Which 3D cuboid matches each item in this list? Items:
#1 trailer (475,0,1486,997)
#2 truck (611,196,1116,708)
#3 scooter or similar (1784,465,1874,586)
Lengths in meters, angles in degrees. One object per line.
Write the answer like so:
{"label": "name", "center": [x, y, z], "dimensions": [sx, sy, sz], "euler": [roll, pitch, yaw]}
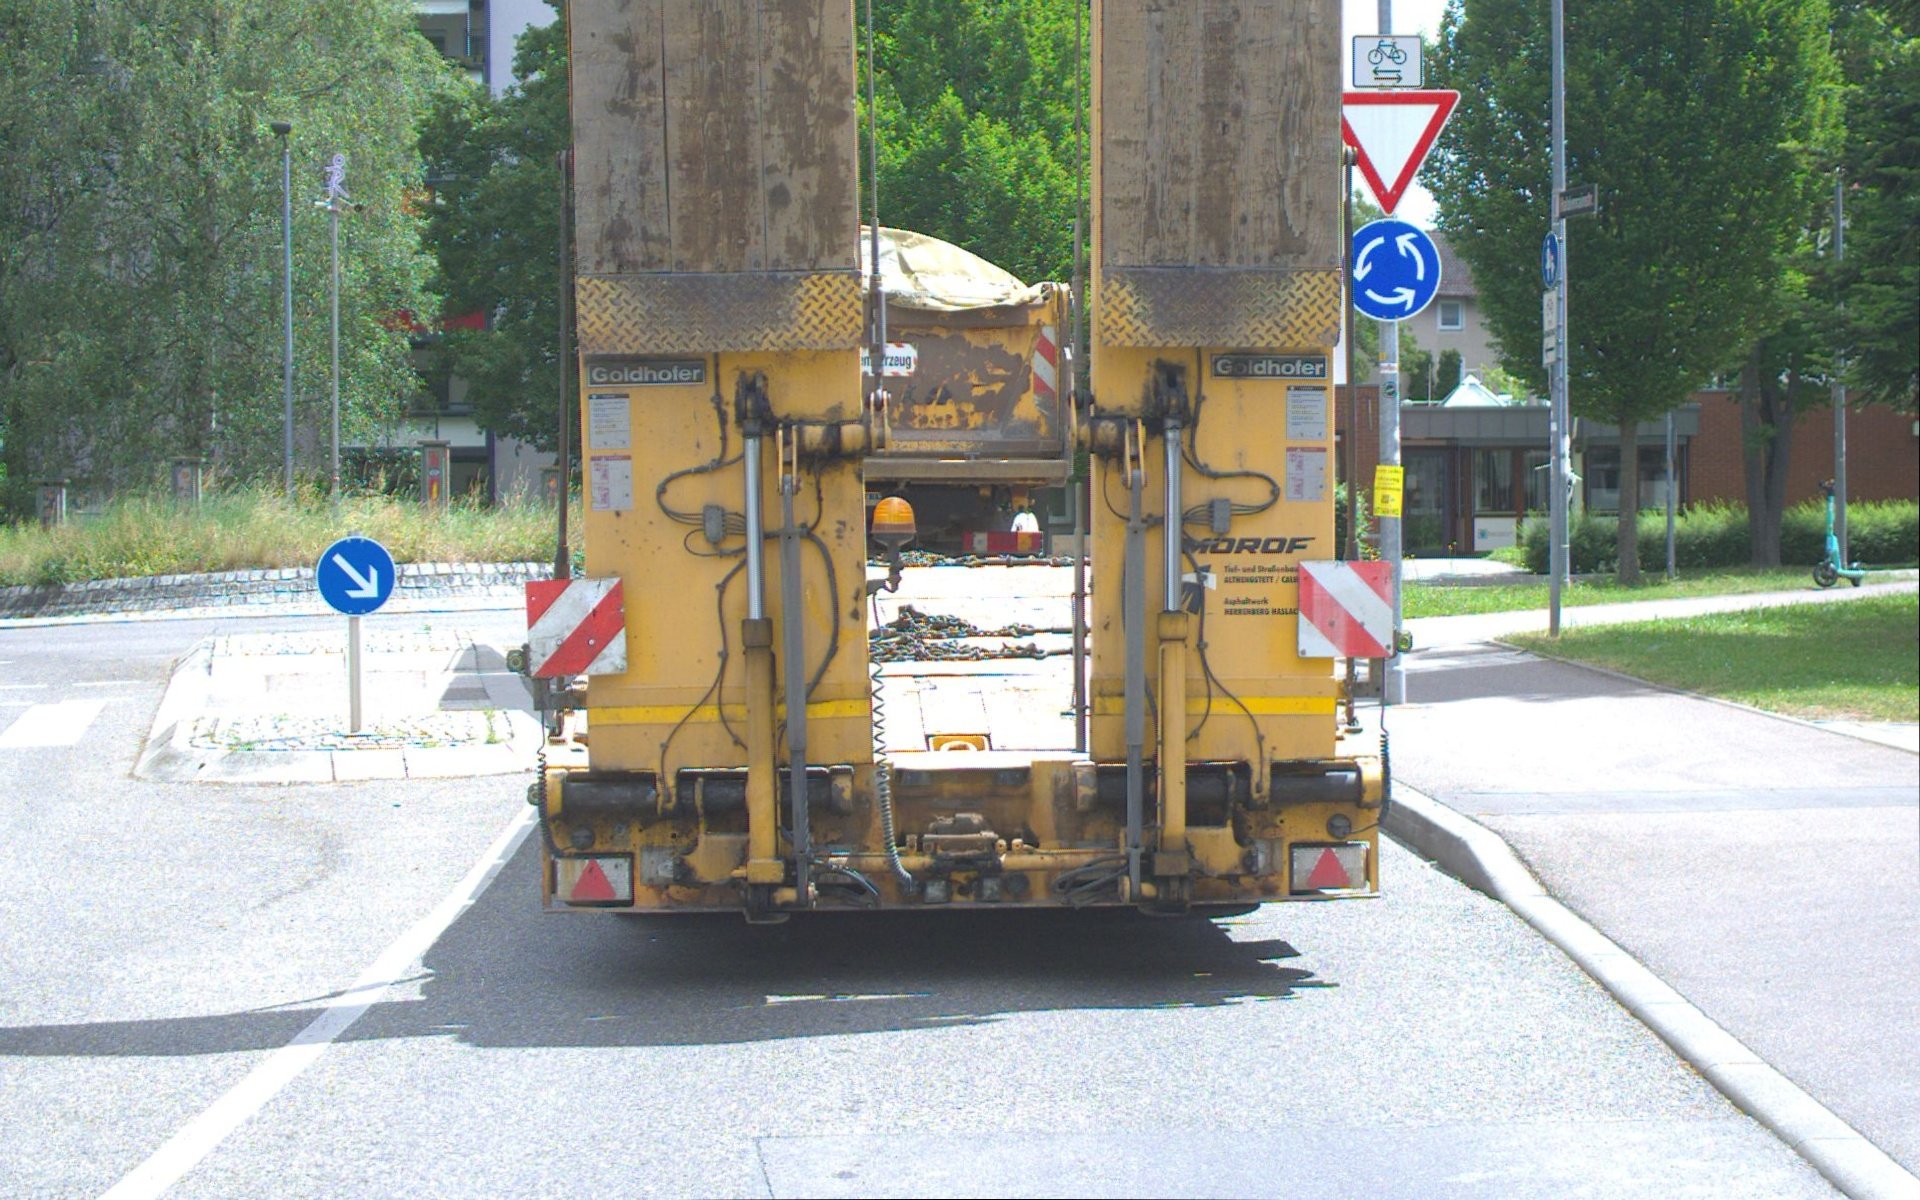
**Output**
{"label": "trailer", "center": [-0.123, -0.772, 15.269], "dimensions": [2.863, 3.360, 10.843], "euler": [1, 2, -2]}
{"label": "truck", "center": [-0.928, -1.102, 24.845], "dimensions": [2.987, 3.024, 8.488], "euler": [1, 3, -5]}
{"label": "scooter or similar", "center": [10.037, -0.868, 39.682], "dimensions": [0.485, 1.338, 1.386], "euler": [-1, 2, 36]}
